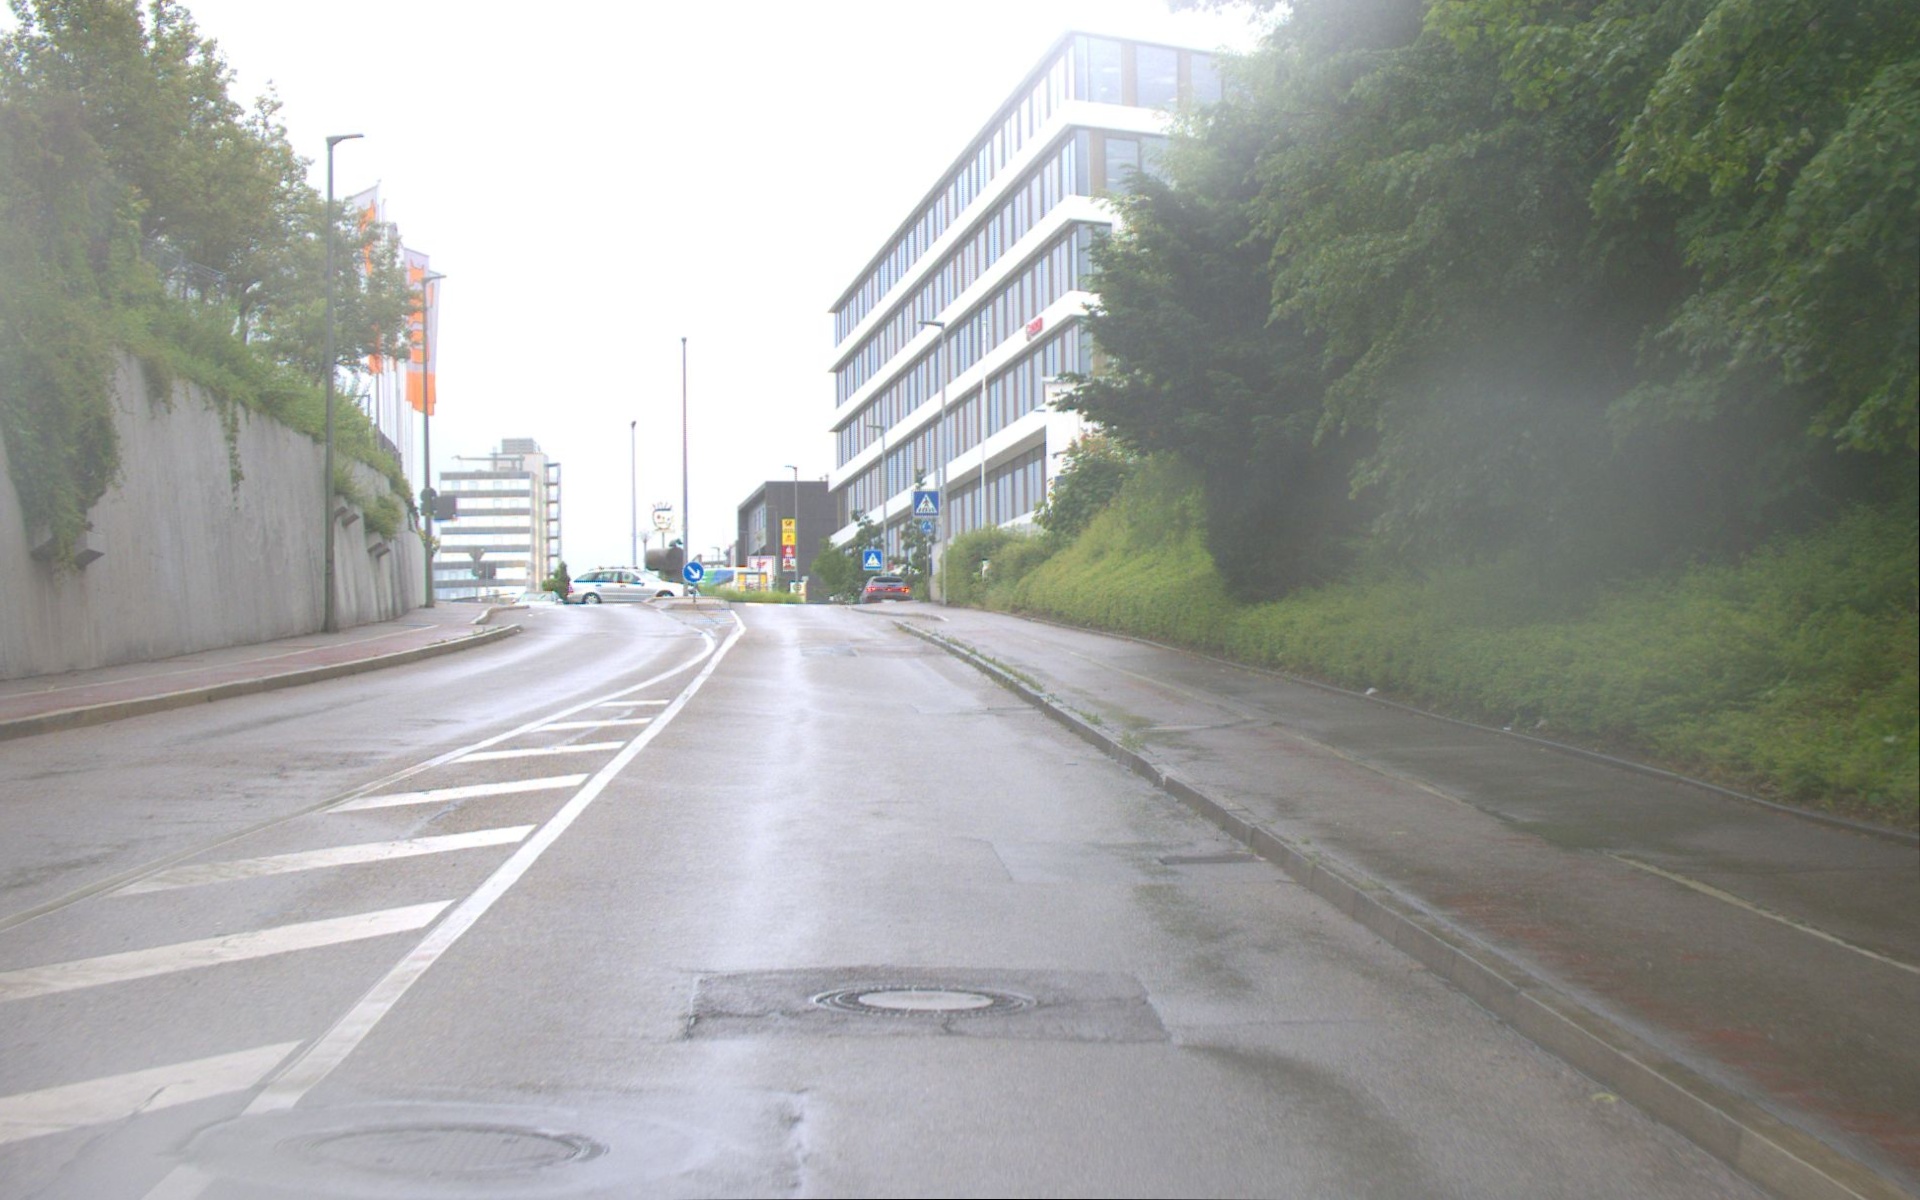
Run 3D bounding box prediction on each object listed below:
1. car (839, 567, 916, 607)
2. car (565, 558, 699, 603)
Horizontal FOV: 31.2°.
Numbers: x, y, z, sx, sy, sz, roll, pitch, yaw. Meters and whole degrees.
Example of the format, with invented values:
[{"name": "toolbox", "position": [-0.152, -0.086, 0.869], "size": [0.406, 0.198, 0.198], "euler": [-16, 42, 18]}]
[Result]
[{"name": "car", "position": [-3.035, -0.496, 125.033], "size": [1.794, 1.405, 4.217], "euler": [0, 1, -16]}, {"name": "car", "position": [-11.124, -0.663, 116.612], "size": [4.237, 1.357, 1.645], "euler": [2, 0, 7]}]
